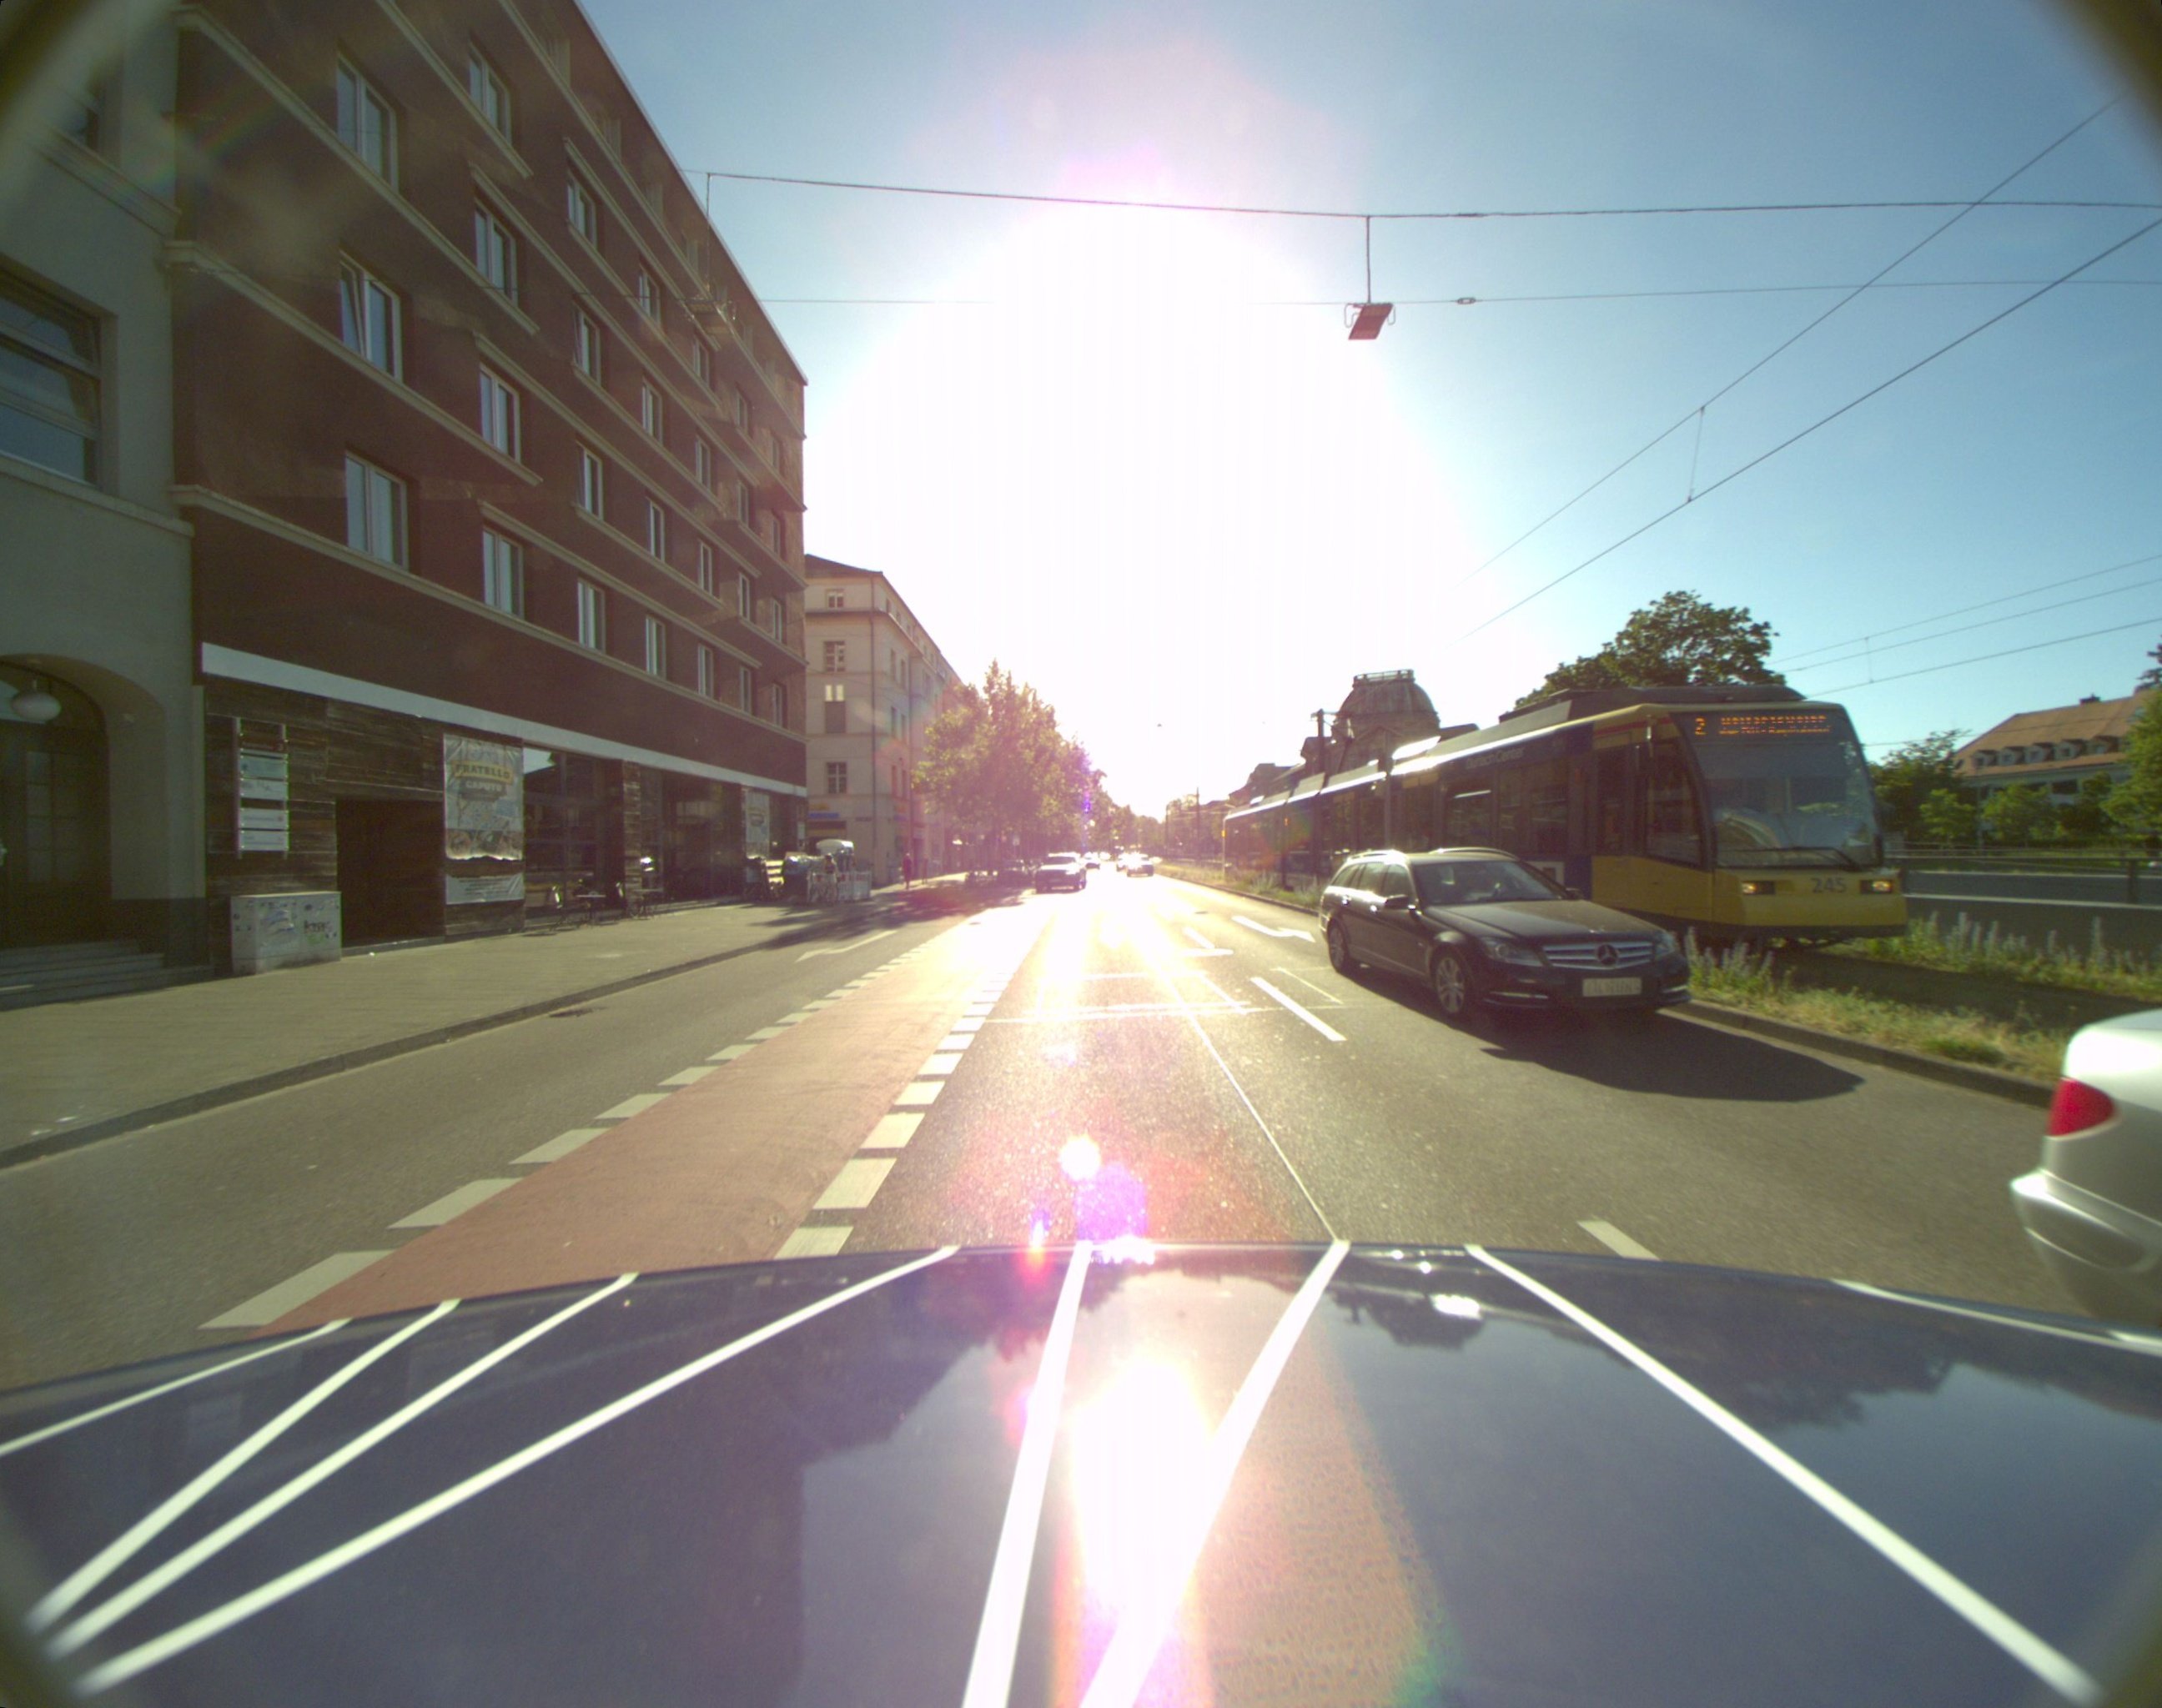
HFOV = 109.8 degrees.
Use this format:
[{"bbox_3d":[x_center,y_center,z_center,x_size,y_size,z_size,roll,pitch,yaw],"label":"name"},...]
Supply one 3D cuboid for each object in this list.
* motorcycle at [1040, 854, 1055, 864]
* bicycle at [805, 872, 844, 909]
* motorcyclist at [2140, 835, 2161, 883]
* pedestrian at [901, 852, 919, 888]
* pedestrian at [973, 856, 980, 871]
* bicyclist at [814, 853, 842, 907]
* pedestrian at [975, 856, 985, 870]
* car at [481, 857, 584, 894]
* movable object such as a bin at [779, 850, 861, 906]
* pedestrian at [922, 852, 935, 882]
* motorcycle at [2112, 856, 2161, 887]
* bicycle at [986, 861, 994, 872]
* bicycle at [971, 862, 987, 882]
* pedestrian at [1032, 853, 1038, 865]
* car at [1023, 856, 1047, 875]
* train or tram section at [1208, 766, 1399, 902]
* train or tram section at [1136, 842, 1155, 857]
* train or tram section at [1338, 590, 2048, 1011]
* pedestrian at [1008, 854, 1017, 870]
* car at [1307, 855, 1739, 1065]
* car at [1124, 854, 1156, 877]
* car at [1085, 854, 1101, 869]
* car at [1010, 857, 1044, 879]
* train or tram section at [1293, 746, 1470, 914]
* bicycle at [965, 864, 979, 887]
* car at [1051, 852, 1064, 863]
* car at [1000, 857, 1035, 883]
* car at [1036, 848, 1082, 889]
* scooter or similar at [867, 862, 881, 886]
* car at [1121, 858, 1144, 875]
[{"bbox_3d":[-4.589,0.685,104.976,1.954,1.224,0.515,-3,1,-3],"label":"motorcycle"},{"bbox_3d":[-8.084,1.143,23.996,0.318,1.079,1.686,-1,0,13],"label":"bicycle"},{"bbox_3d":[30.787,0.134,21.318,0.885,1.330,0.874,-3,1,2],"label":"motorcyclist"},{"bbox_3d":[-8.947,0.824,39.688,0.715,1.889,0.863,-1,1,1],"label":"pedestrian"},{"bbox_3d":[-9.723,0.875,70.920,0.536,1.325,0.820,0,1,1],"label":"pedestrian"},{"bbox_3d":[-7.996,0.829,24.038,0.602,1.680,0.598,-1,1,11],"label":"bicyclist"},{"bbox_3d":[-9.572,0.862,71.877,0.787,1.361,0.857,0,1,1],"label":"pedestrian"},{"bbox_3d":[-29.279,1.135,40.635,3.996,1.740,2.000,-3,1,2],"label":"car"},{"bbox_3d":[-9.242,0.841,27.153,1.951,1.832,3.479,-1,-1,-5],"label":"movable object such as a bin"},{"bbox_3d":[-8.811,0.731,43.875,0.559,1.701,0.770,-1,1,1],"label":"pedestrian"},{"bbox_3d":[30.748,0.498,21.405,0.515,0.845,2.144,-3,0,2],"label":"motorcycle"},{"bbox_3d":[-9.405,1.271,78.730,0.491,1.018,2.623,-1,0,0],"label":"bicycle"},{"bbox_3d":[-6.041,1.039,45.117,0.488,1.129,1.691,-2,0,6],"label":"bicycle"},{"bbox_3d":[-7.560,0.798,124.587,0.644,1.817,0.896,-3,1,15],"label":"pedestrian"},{"bbox_3d":[-3.830,0.955,64.095,1.699,1.493,3.801,1,0,0],"label":"car"},{"bbox_3d":[7.649,-0.617,29.145,2.936,3.790,14.271,-3,0,0],"label":"train or tram section"},{"bbox_3d":[14.969,-1.015,177.050,2.969,3.463,11.285,-2,0,-2],"label":"train or tram section"},{"bbox_3d":[7.693,-0.534,12.657,2.960,3.874,10.801,-3,0,0],"label":"train or tram section"},{"bbox_3d":[-7.501,0.853,83.024,0.861,1.695,0.916,-1,1,-2],"label":"pedestrian"},{"bbox_3d":[3.914,0.778,7.784,1.731,1.461,4.409,-2,0,-2],"label":"car"},{"bbox_3d":[4.062,0.782,52.423,1.778,1.439,3.868,-3,0,-1],"label":"car"},{"bbox_3d":[1.194,0.744,77.564,1.554,1.520,3.718,-1,0,1],"label":"car"},{"bbox_3d":[-3.966,0.982,56.505,2.043,1.500,4.593,-1,0,1],"label":"car"},{"bbox_3d":[7.699,-0.577,20.029,2.962,3.874,3.865,-3,1,0],"label":"train or tram section"},{"bbox_3d":[-5.870,1.144,40.998,0.582,1.156,2.236,-3,0,-7],"label":"bicycle"},{"bbox_3d":[-3.499,0.536,115.317,1.823,1.506,4.707,-3,0,0],"label":"car"},{"bbox_3d":[-4.041,0.971,48.692,1.793,1.546,4.435,-1,0,1],"label":"car"},{"bbox_3d":[-0.944,0.623,35.030,1.949,1.690,5.306,-1,0,0],"label":"car"},{"bbox_3d":[-11.278,1.089,41.347,0.382,1.278,1.204,-3,1,-29],"label":"scooter or similar"},{"bbox_3d":[4.560,1.093,68.294,1.798,1.420,4.000,-3,0,1],"label":"car"}]
